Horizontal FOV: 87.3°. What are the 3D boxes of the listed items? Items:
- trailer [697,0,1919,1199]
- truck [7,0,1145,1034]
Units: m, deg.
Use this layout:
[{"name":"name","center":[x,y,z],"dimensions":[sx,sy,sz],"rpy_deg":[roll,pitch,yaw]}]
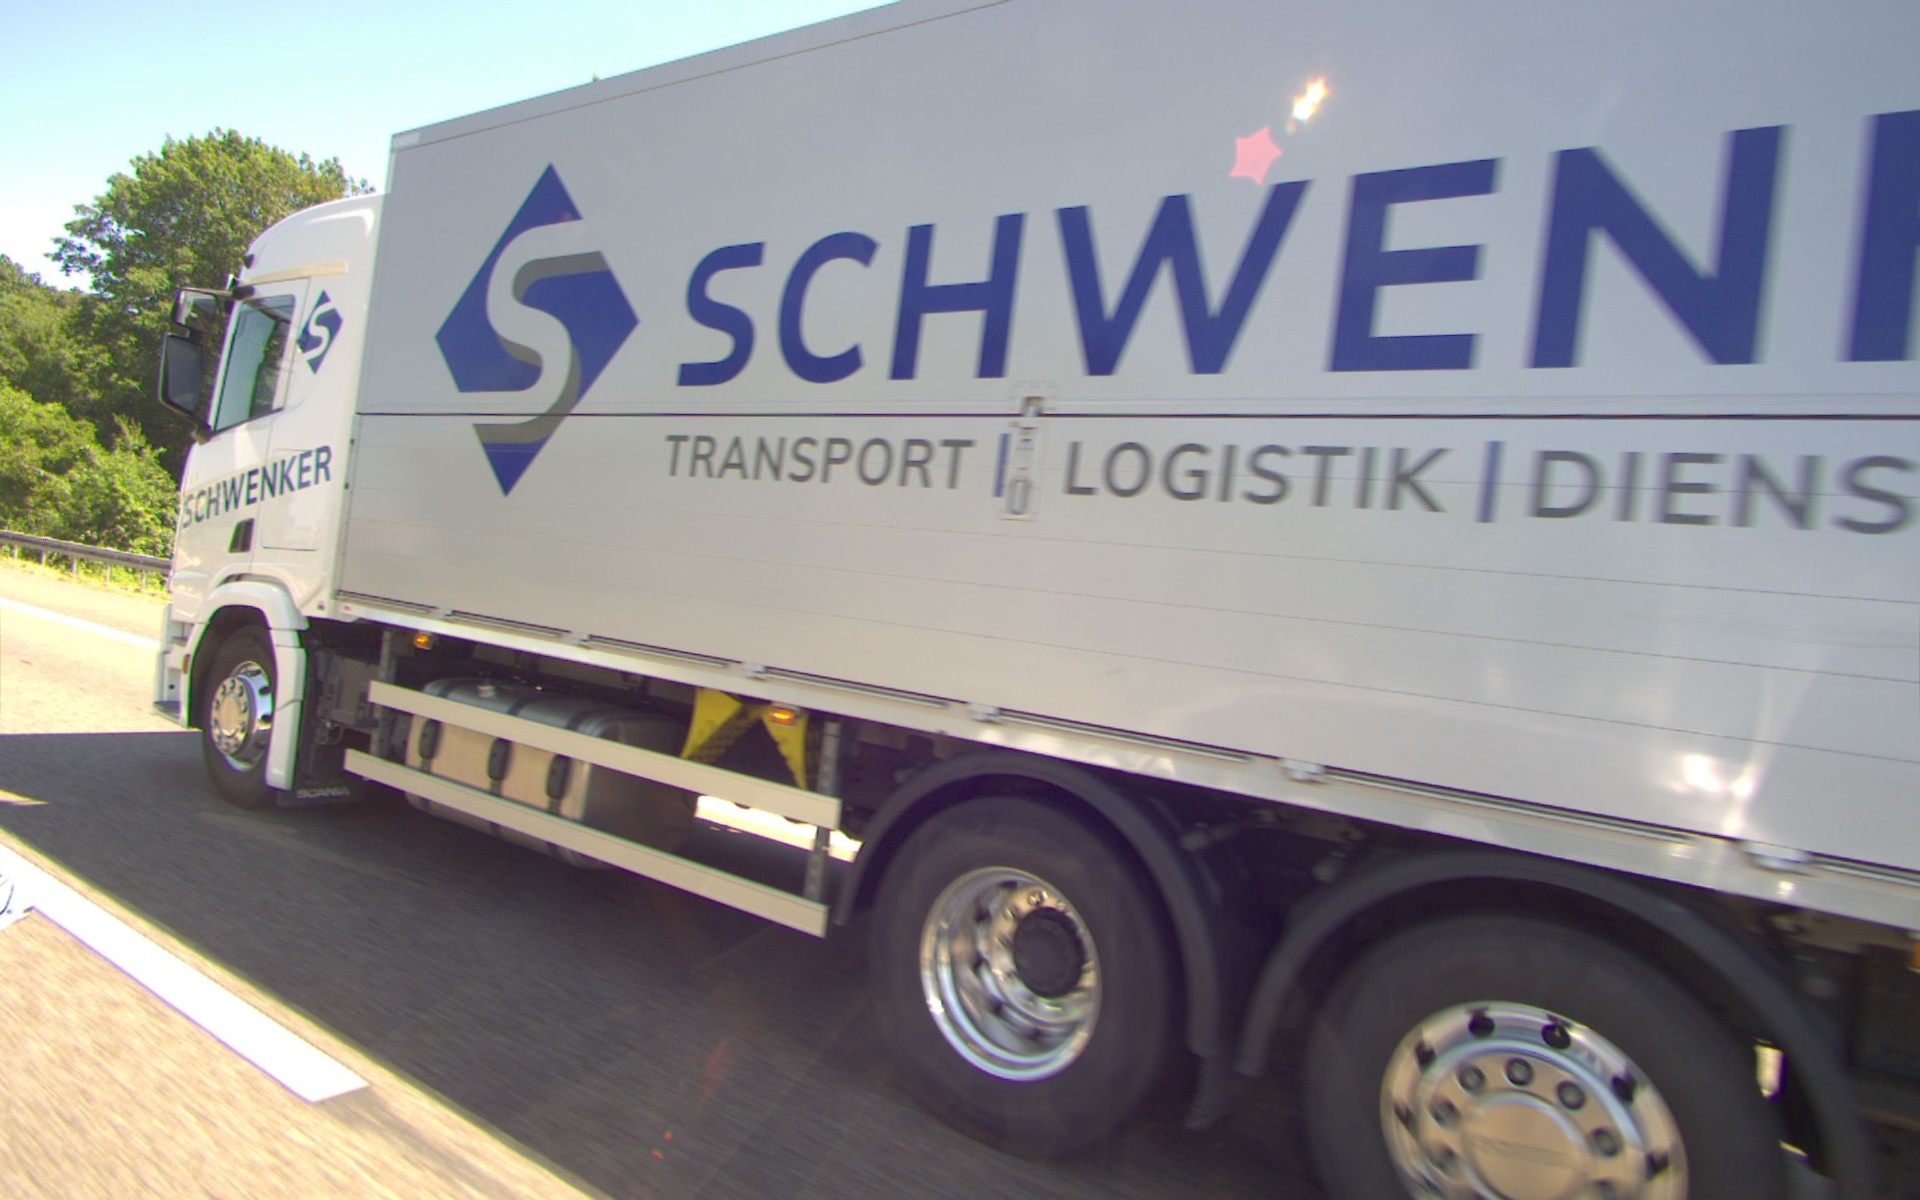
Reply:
[{"name":"trailer","center":[3.155,-0.072,2.747],"dimensions":[7.195,4.088,2.925],"rpy_deg":[6,-1,31]},{"name":"truck","center":[-2.749,-0.734,6.414],"dimensions":[6.756,4.077,2.894],"rpy_deg":[6,-1,32]}]
